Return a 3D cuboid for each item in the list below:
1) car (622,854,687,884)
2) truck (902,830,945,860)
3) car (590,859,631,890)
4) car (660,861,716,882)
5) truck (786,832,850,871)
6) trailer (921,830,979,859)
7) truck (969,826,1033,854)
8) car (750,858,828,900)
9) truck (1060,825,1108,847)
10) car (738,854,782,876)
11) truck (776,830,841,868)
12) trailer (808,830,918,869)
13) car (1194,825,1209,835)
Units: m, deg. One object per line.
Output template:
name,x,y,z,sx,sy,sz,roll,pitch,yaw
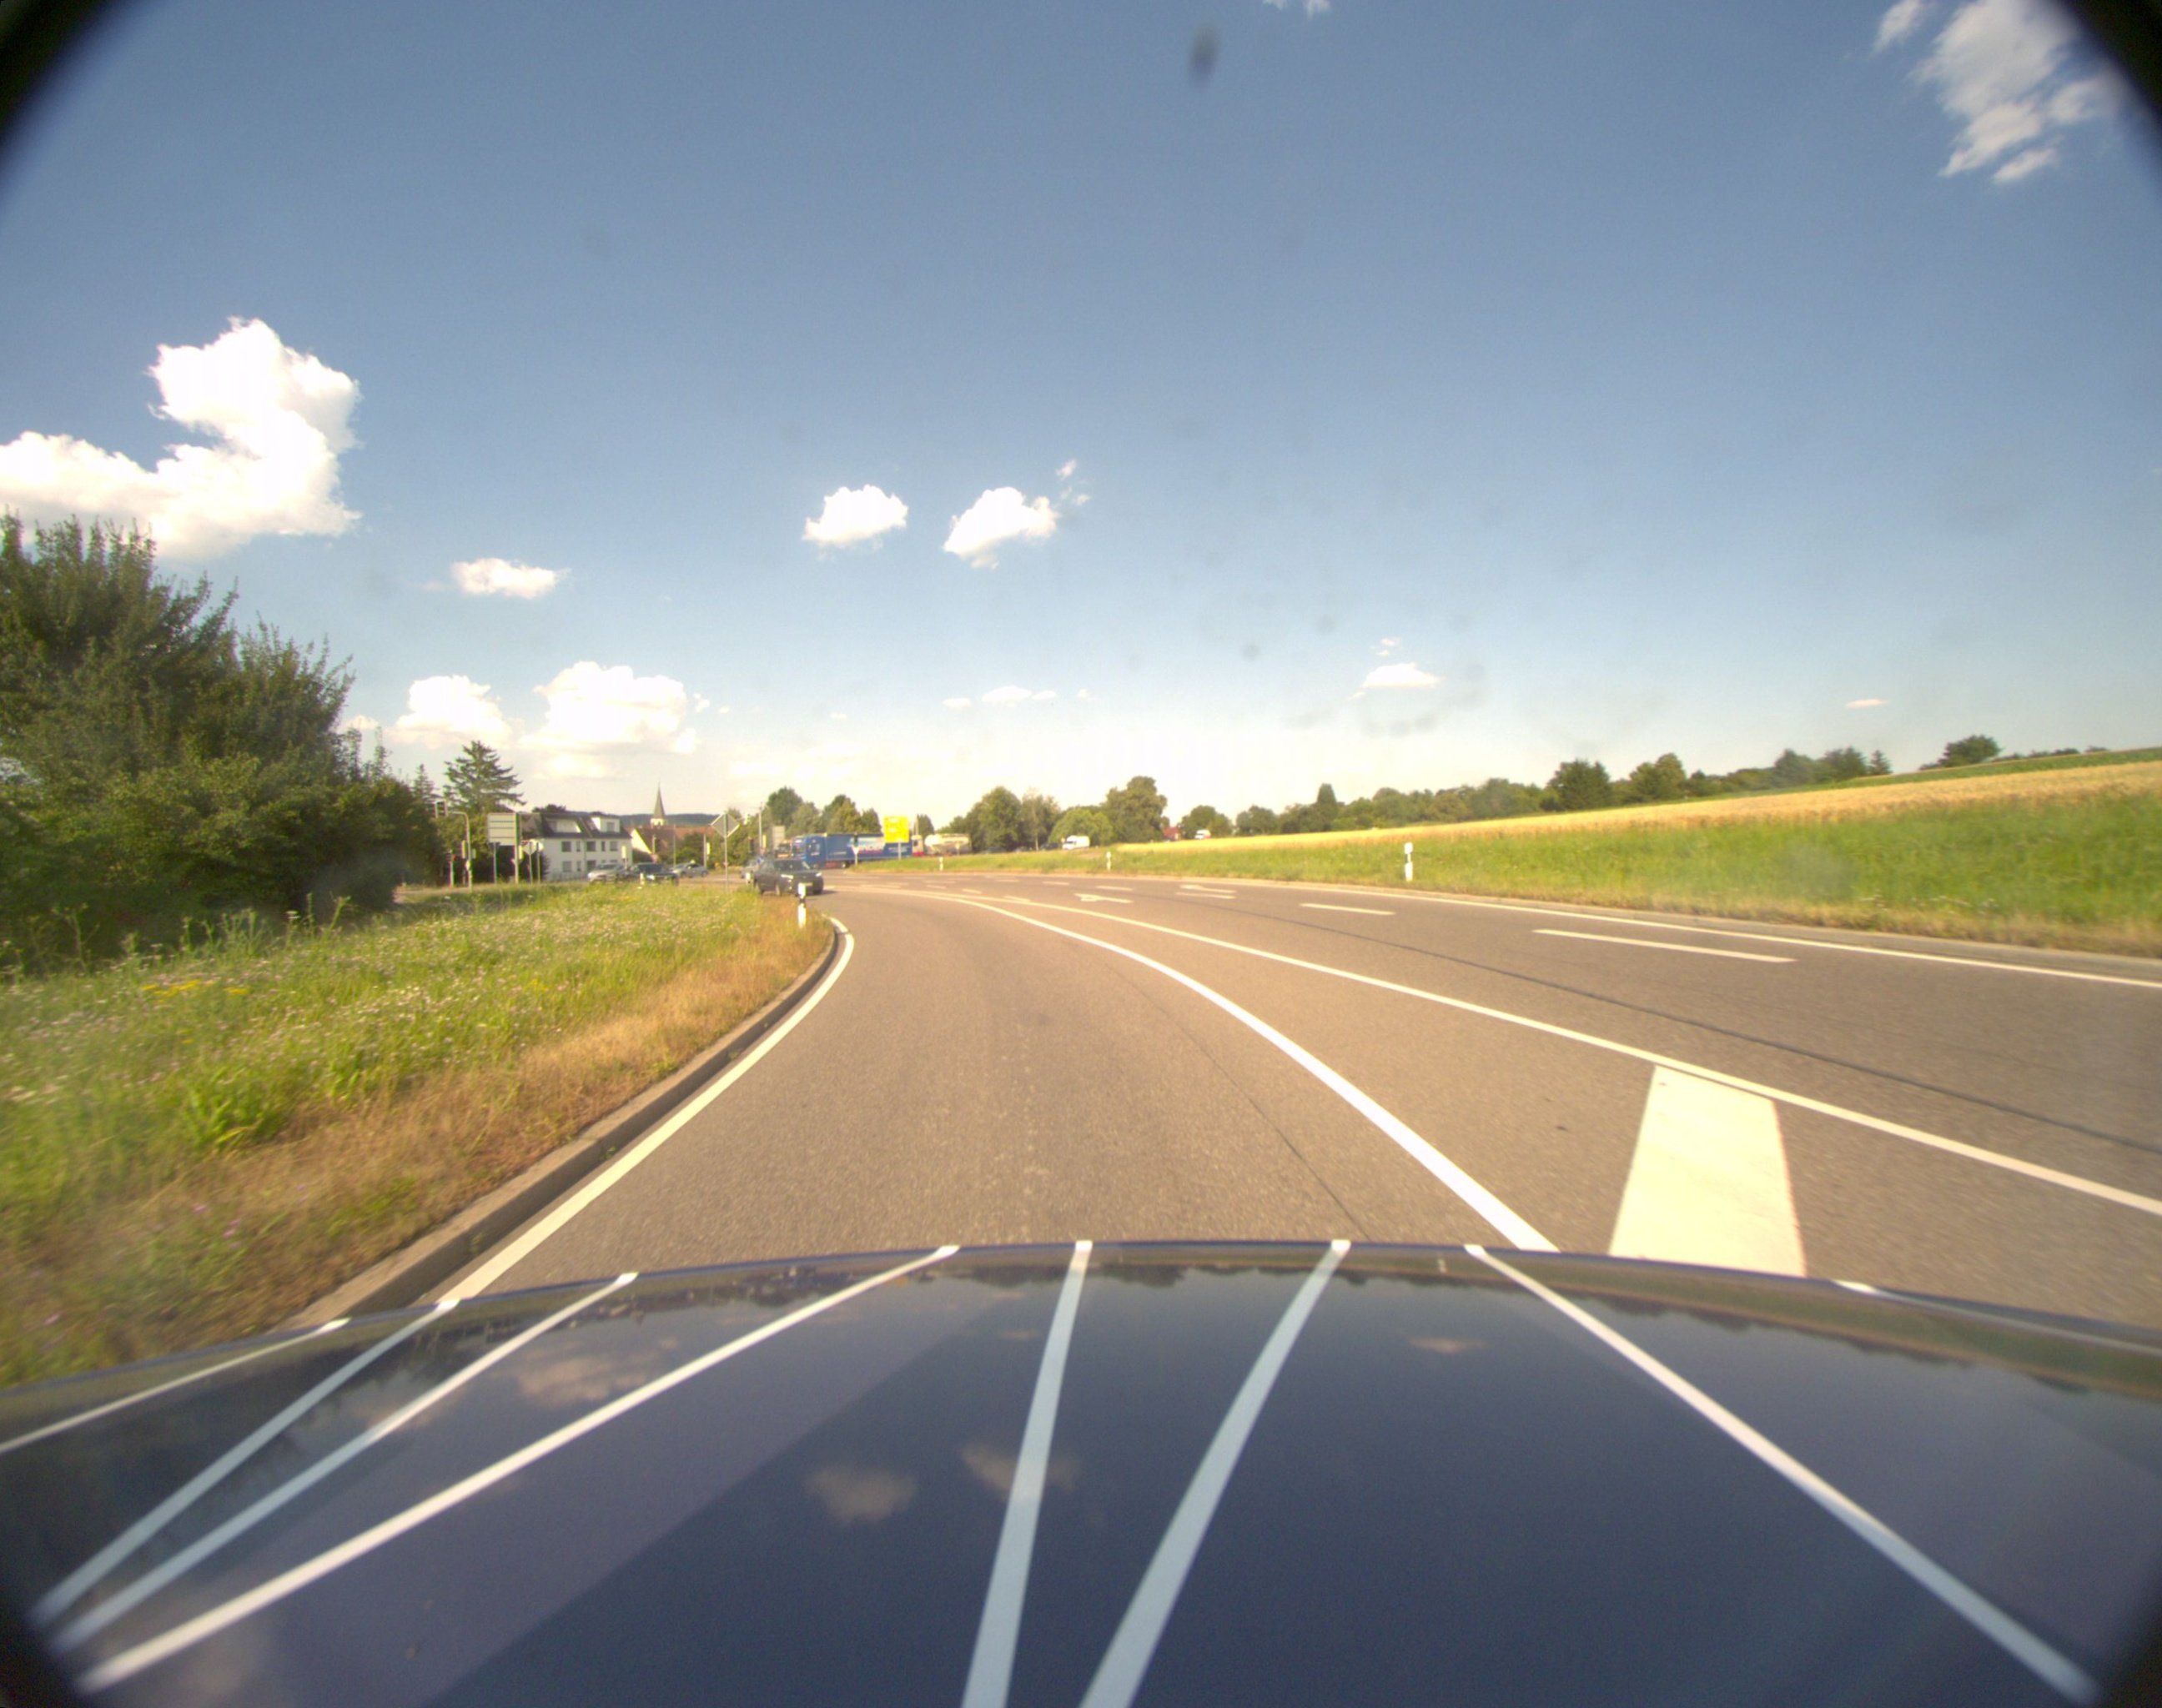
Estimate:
car,-25.241,0.917,44.898,4.535,1.604,1.779,-2,2,40
truck,-21.528,-1.251,104.170,2.257,3.783,5.695,-2,2,31
car,-35.288,1.502,57.073,1.910,1.937,4.362,-6,3,-24
car,-36.085,1.575,69.795,1.995,1.478,4.005,-2,3,30
truck,-29.296,-0.316,84.861,3.367,3.982,5.610,-2,1,31
trailer,-18.686,-1.485,108.951,2.260,3.755,9.540,-3,1,31
truck,-12.487,-2.291,120.143,2.524,3.752,12.919,-3,1,31
car,-12.829,1.058,33.233,1.792,1.620,4.457,-4,2,-39
truck,0.767,-3.460,142.310,2.524,3.752,12.919,-2,1,31
car,-25.843,0.908,61.095,1.823,1.519,4.342,-5,0,-43
truck,-31.545,-0.664,88.158,2.533,4.021,6.673,-2,2,31
trailer,-25.711,-0.630,90.800,3.410,3.982,13.771,-2,1,31
car,30.044,-6.024,188.877,1.995,2.002,4.005,-7,1,35
